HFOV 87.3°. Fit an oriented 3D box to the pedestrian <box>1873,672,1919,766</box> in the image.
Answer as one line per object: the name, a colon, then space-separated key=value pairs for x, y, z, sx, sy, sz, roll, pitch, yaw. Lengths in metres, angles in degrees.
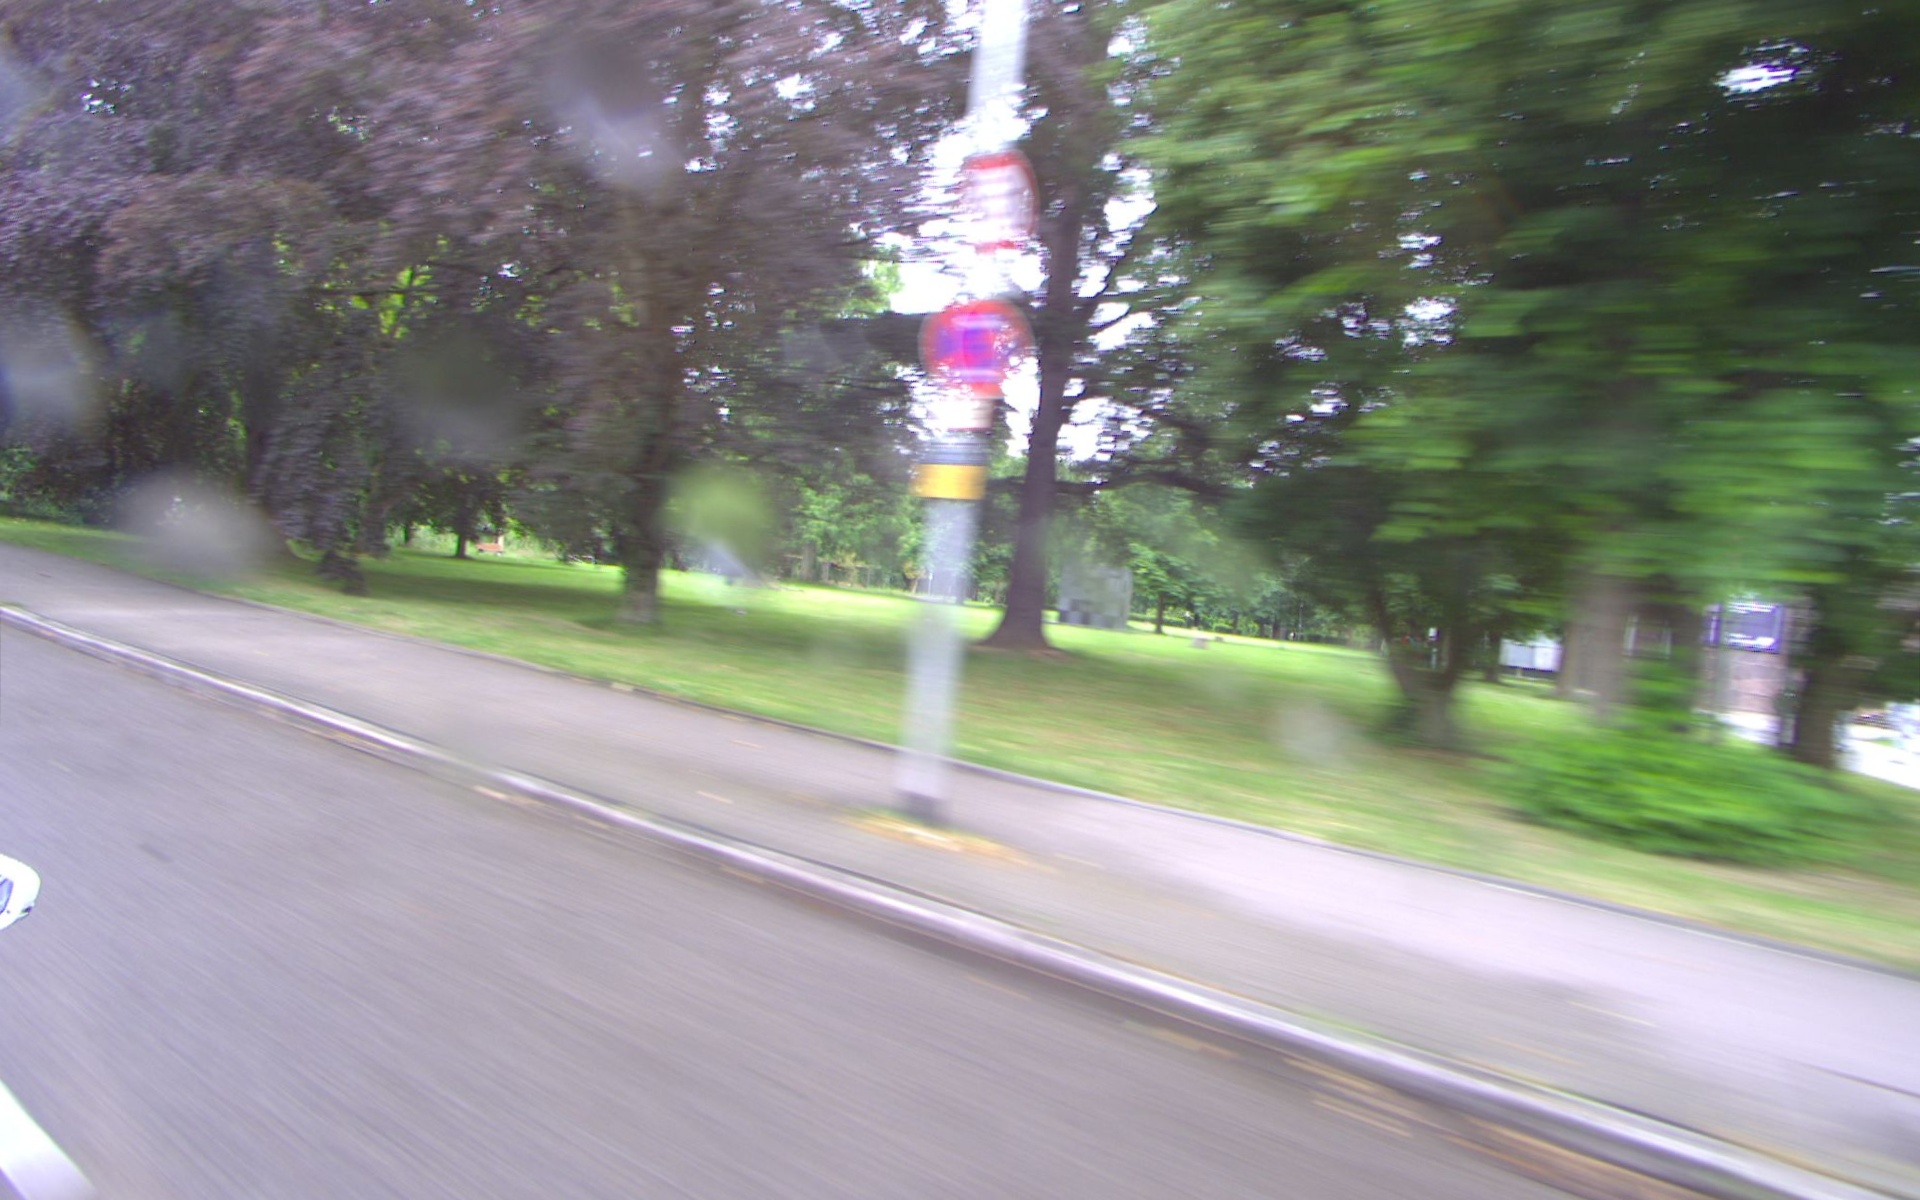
pedestrian: x=18.983 y=2.383 z=20.014 sx=0.864 sy=1.783 sz=0.840 roll=7 pitch=-1 yaw=26

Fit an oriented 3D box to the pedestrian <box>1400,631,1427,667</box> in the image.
pedestrian: x=24.432 y=2.640 z=54.206 sx=0.845 sy=1.783 sz=0.838 roll=7 pitch=-1 yaw=-17

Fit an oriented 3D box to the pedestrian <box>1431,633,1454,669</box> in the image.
pedestrian: x=25.542 y=2.727 z=53.296 sx=0.825 sy=1.783 sz=0.772 roll=7 pitch=-1 yaw=19

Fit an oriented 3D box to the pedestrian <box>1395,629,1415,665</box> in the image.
pedestrian: x=23.479 y=2.494 z=53.123 sx=0.758 sy=1.783 sz=0.840 roll=7 pitch=-1 yaw=26

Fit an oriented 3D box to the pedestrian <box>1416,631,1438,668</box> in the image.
pedestrian: x=24.489 y=2.592 z=52.759 sx=0.843 sy=1.783 sz=0.840 roll=7 pitch=-1 yaw=26

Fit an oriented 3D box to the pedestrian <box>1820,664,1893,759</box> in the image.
pedestrian: x=18.231 y=2.253 z=20.471 sx=0.758 sy=1.783 sz=0.840 roll=7 pitch=-1 yaw=26
